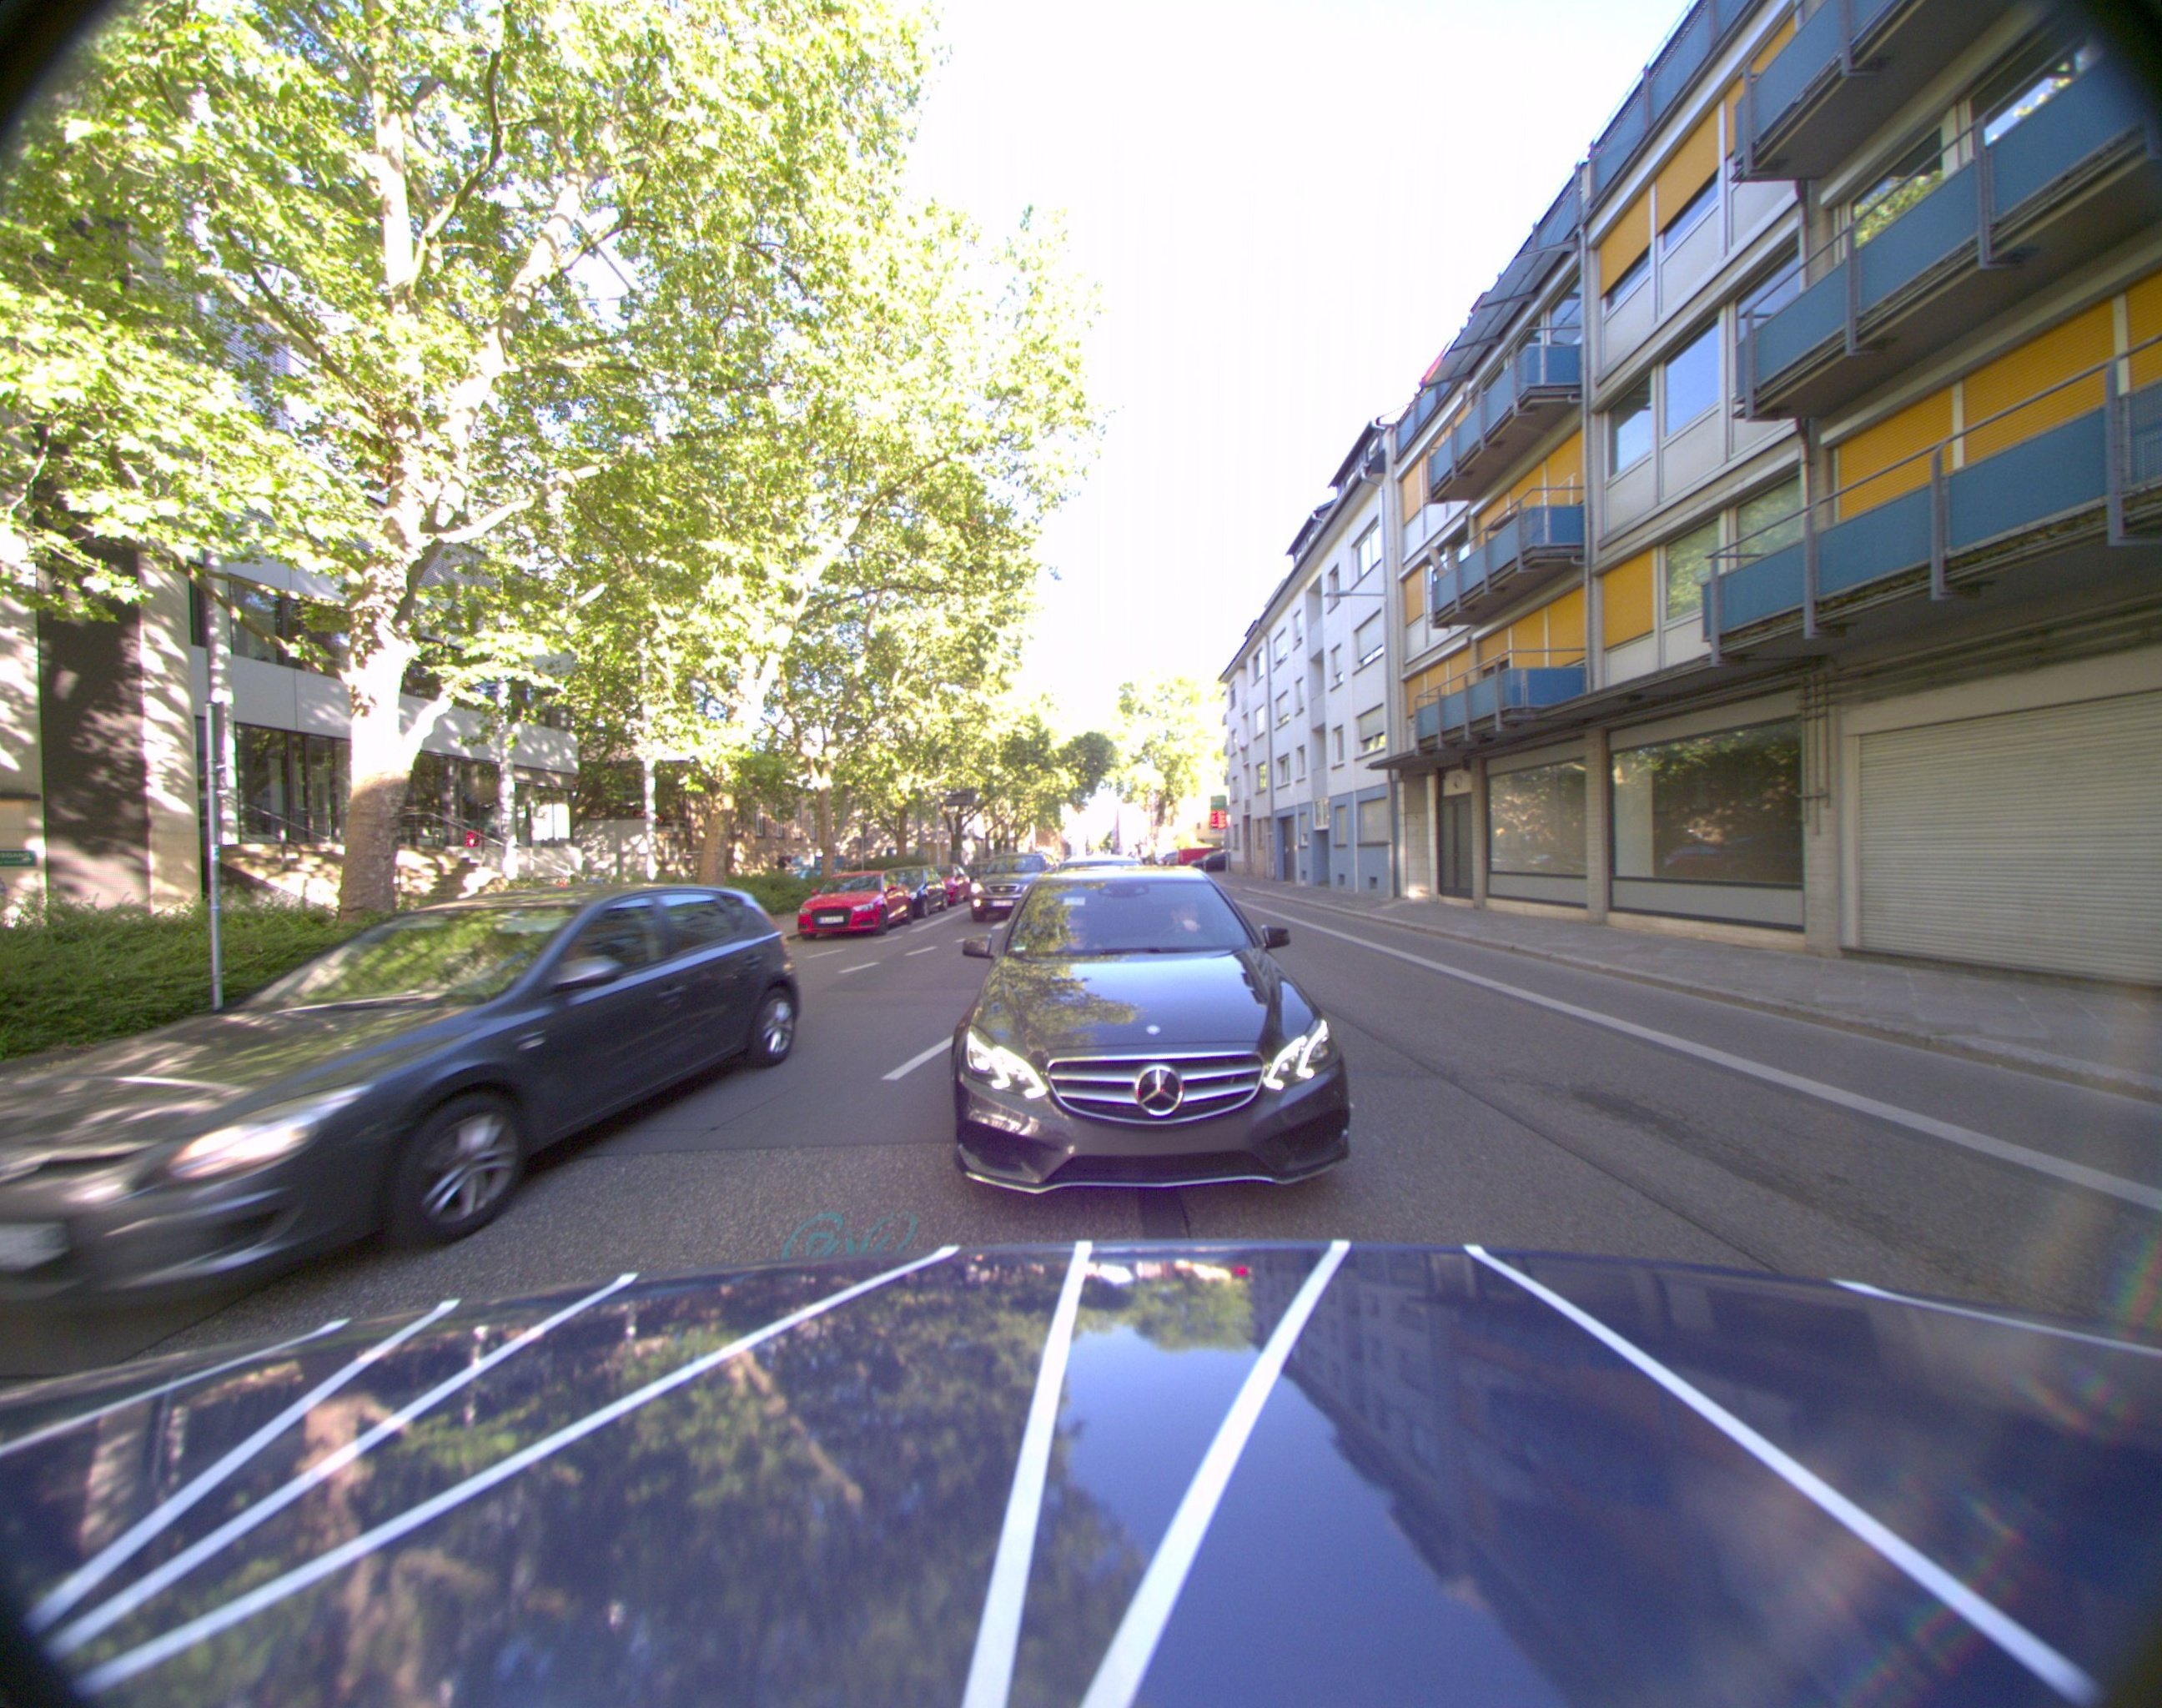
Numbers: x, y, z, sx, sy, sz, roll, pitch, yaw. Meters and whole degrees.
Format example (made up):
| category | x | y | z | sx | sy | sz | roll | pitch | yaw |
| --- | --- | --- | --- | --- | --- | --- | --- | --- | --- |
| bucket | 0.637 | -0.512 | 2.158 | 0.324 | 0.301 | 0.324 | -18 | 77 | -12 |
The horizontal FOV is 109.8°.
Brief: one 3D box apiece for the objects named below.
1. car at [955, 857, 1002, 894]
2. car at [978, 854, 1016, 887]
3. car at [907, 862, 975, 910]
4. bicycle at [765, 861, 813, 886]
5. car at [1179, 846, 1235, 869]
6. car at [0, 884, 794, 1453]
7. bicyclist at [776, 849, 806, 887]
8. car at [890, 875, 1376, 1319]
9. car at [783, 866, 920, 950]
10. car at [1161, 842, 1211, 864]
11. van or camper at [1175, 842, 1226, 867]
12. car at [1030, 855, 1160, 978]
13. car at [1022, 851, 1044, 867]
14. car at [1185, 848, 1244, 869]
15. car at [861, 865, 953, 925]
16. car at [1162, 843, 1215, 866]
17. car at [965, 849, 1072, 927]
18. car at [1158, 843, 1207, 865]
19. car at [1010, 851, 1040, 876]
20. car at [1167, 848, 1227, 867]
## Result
| category | x | y | z | sx | sy | sz | roll | pitch | yaw |
| --- | --- | --- | --- | --- | --- | --- | --- | --- | --- |
| car | -4.985 | 1.014 | 37.419 | 1.741 | 1.622 | 4.091 | -2 | 0 | 0 |
| car | -4.633 | 0.861 | 42.300 | 1.634 | 1.677 | 3.907 | -2 | 0 | 0 |
| car | -5.034 | 1.104 | 27.736 | 1.681 | 1.484 | 3.918 | -4 | 0 | 0 |
| bicycle | -12.924 | 0.868 | 33.674 | 1.799 | 1.009 | 0.734 | -2 | 1 | -8 |
| car | 10.137 | 0.265 | 61.289 | 4.146 | 1.681 | 2.000 | -2 | 0 | 1 |
| car | -3.339 | 1.021 | 4.246 | 1.647 | 1.473 | 3.977 | -2 | 0 | 5 |
| bicyclist | -12.863 | 0.601 | 33.682 | 1.037 | 1.610 | 0.697 | -2 | 1 | -8 |
| car | 0.189 | 0.947 | 4.716 | 1.740 | 1.448 | 3.864 | -2 | 0 | 0 |
| car | -5.129 | 1.147 | 17.604 | 1.830 | 1.519 | 4.142 | -4 | 0 | 0 |
| car | 11.032 | -0.106 | 80.188 | 4.991 | 2.181 | 2.000 | -2 | 1 | 1 |
| van or camper | 10.058 | 0.019 | 64.196 | 3.997 | 2.002 | 2.000 | -2 | 1 | 0 |
| car | 0.215 | 0.839 | 12.494 | 1.646 | 1.520 | 4.619 | -4 | 0 | 1 |
| car | -4.384 | 0.437 | 70.442 | 1.741 | 1.469 | 4.091 | -2 | 0 | 0 |
| car | 10.314 | 0.320 | 58.958 | 4.146 | 1.486 | 2.000 | -2 | 0 | 1 |
| car | -5.071 | 1.145 | 22.679 | 1.741 | 1.444 | 4.091 | -4 | 0 | 0 |
| car | 10.913 | 0.021 | 77.337 | 4.991 | 2.181 | 2.000 | -2 | 1 | 1 |
| car | -1.528 | 0.804 | 20.327 | 1.784 | 1.760 | 4.387 | -3 | 0 | 9 |
| car | 11.036 | -0.013 | 82.819 | 4.991 | 2.181 | 2.000 | -2 | 1 | 1 |
| car | -4.368 | 0.723 | 59.845 | 1.992 | 1.795 | 4.376 | -2 | 0 | 0 |
| car | 10.160 | 0.280 | 66.699 | 4.990 | 1.486 | 2.000 | -2 | 0 | 1 |
